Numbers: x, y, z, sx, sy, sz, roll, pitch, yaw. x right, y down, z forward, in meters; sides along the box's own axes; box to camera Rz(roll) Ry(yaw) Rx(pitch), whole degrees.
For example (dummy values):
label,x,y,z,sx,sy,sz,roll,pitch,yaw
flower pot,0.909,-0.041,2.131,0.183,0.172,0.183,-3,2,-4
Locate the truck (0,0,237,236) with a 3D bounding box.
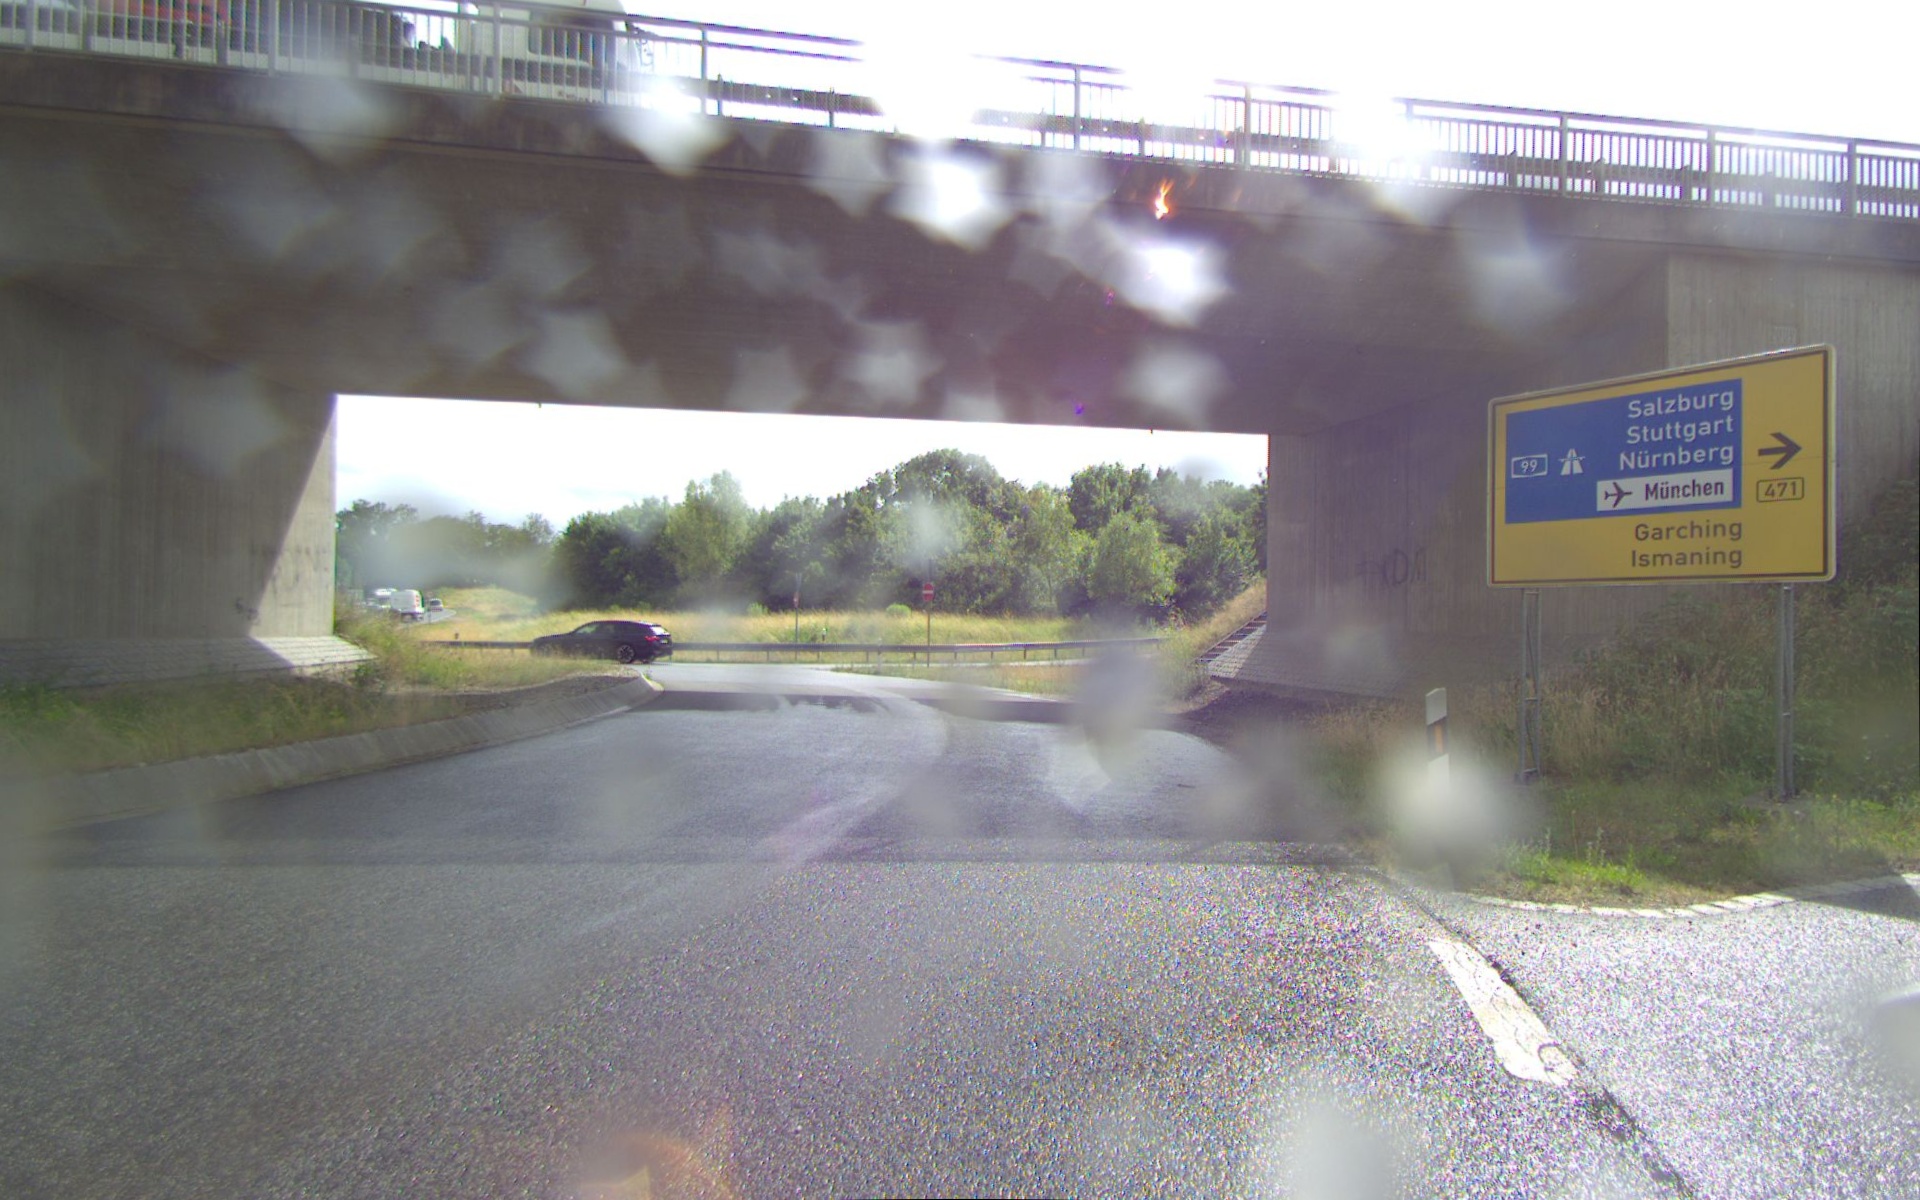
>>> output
label,x,y,z,sx,sy,sz,roll,pitch,yaw
truck,-15.544,-6.925,12.367,10.641,2.912,2.201,1,0,-14
